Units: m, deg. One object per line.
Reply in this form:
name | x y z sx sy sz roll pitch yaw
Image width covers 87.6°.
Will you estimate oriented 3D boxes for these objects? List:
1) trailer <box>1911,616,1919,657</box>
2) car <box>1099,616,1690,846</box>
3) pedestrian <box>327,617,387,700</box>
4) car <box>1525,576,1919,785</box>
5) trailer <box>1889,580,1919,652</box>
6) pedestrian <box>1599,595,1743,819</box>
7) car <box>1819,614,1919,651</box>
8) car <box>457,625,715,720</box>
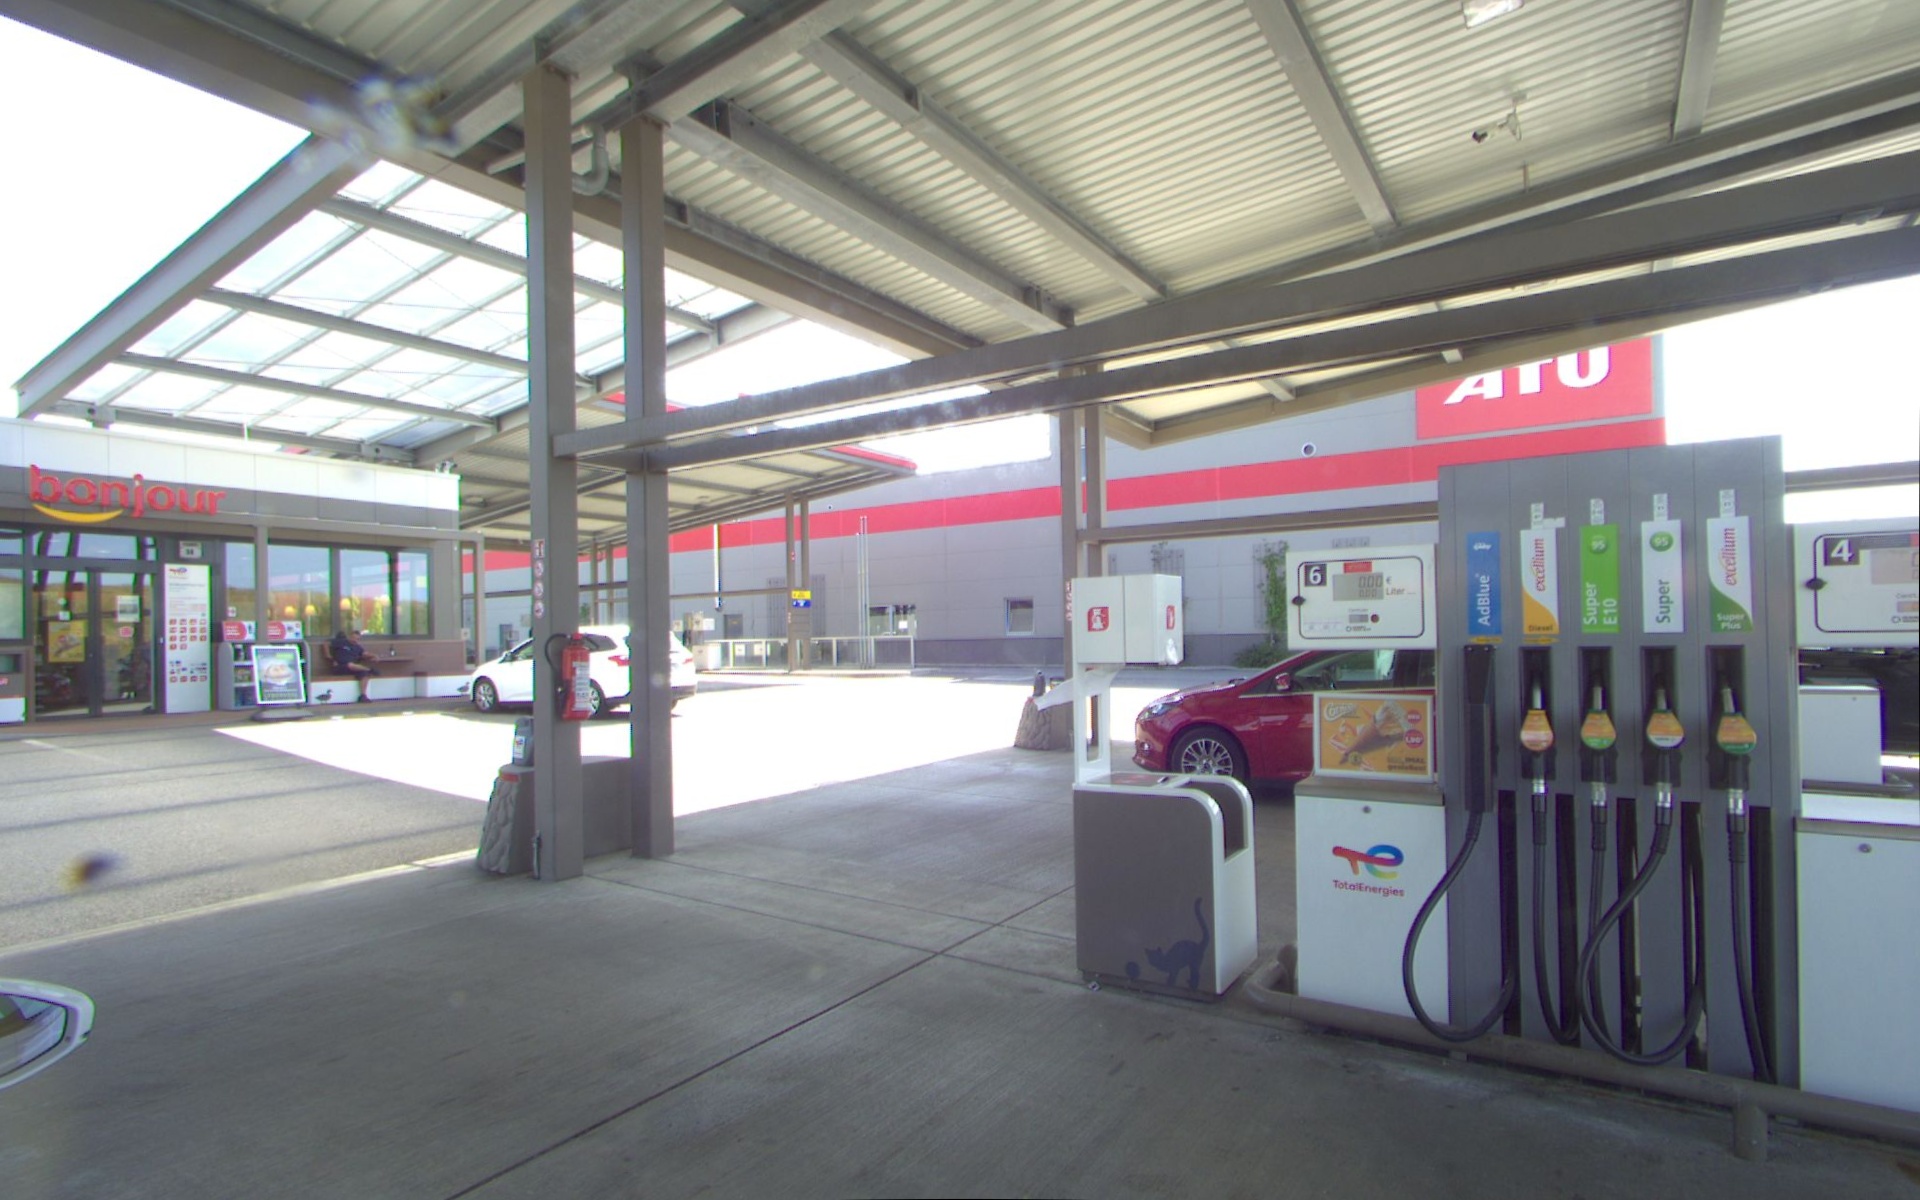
trailer | 31.623 1.110 30.468 3.648 1.297 1.578 -1 -1 9
car | 3.419 0.903 8.338 4.173 1.488 1.695 -1 -1 33
pedestrian | -10.885 1.039 18.079 0.663 1.450 0.700 -1 -1 32
car | 8.557 0.742 10.241 4.730 1.875 2.023 0 0 33
trailer | 35.098 0.531 34.624 3.922 2.459 2.000 -1 -1 6
pedestrian | 5.830 0.838 8.260 0.915 1.725 0.699 -1 -1 34
car | 34.973 1.205 37.710 3.761 1.334 1.682 -1 -1 0
car | -6.511 1.184 17.358 4.253 1.475 1.829 -1 -1 27
